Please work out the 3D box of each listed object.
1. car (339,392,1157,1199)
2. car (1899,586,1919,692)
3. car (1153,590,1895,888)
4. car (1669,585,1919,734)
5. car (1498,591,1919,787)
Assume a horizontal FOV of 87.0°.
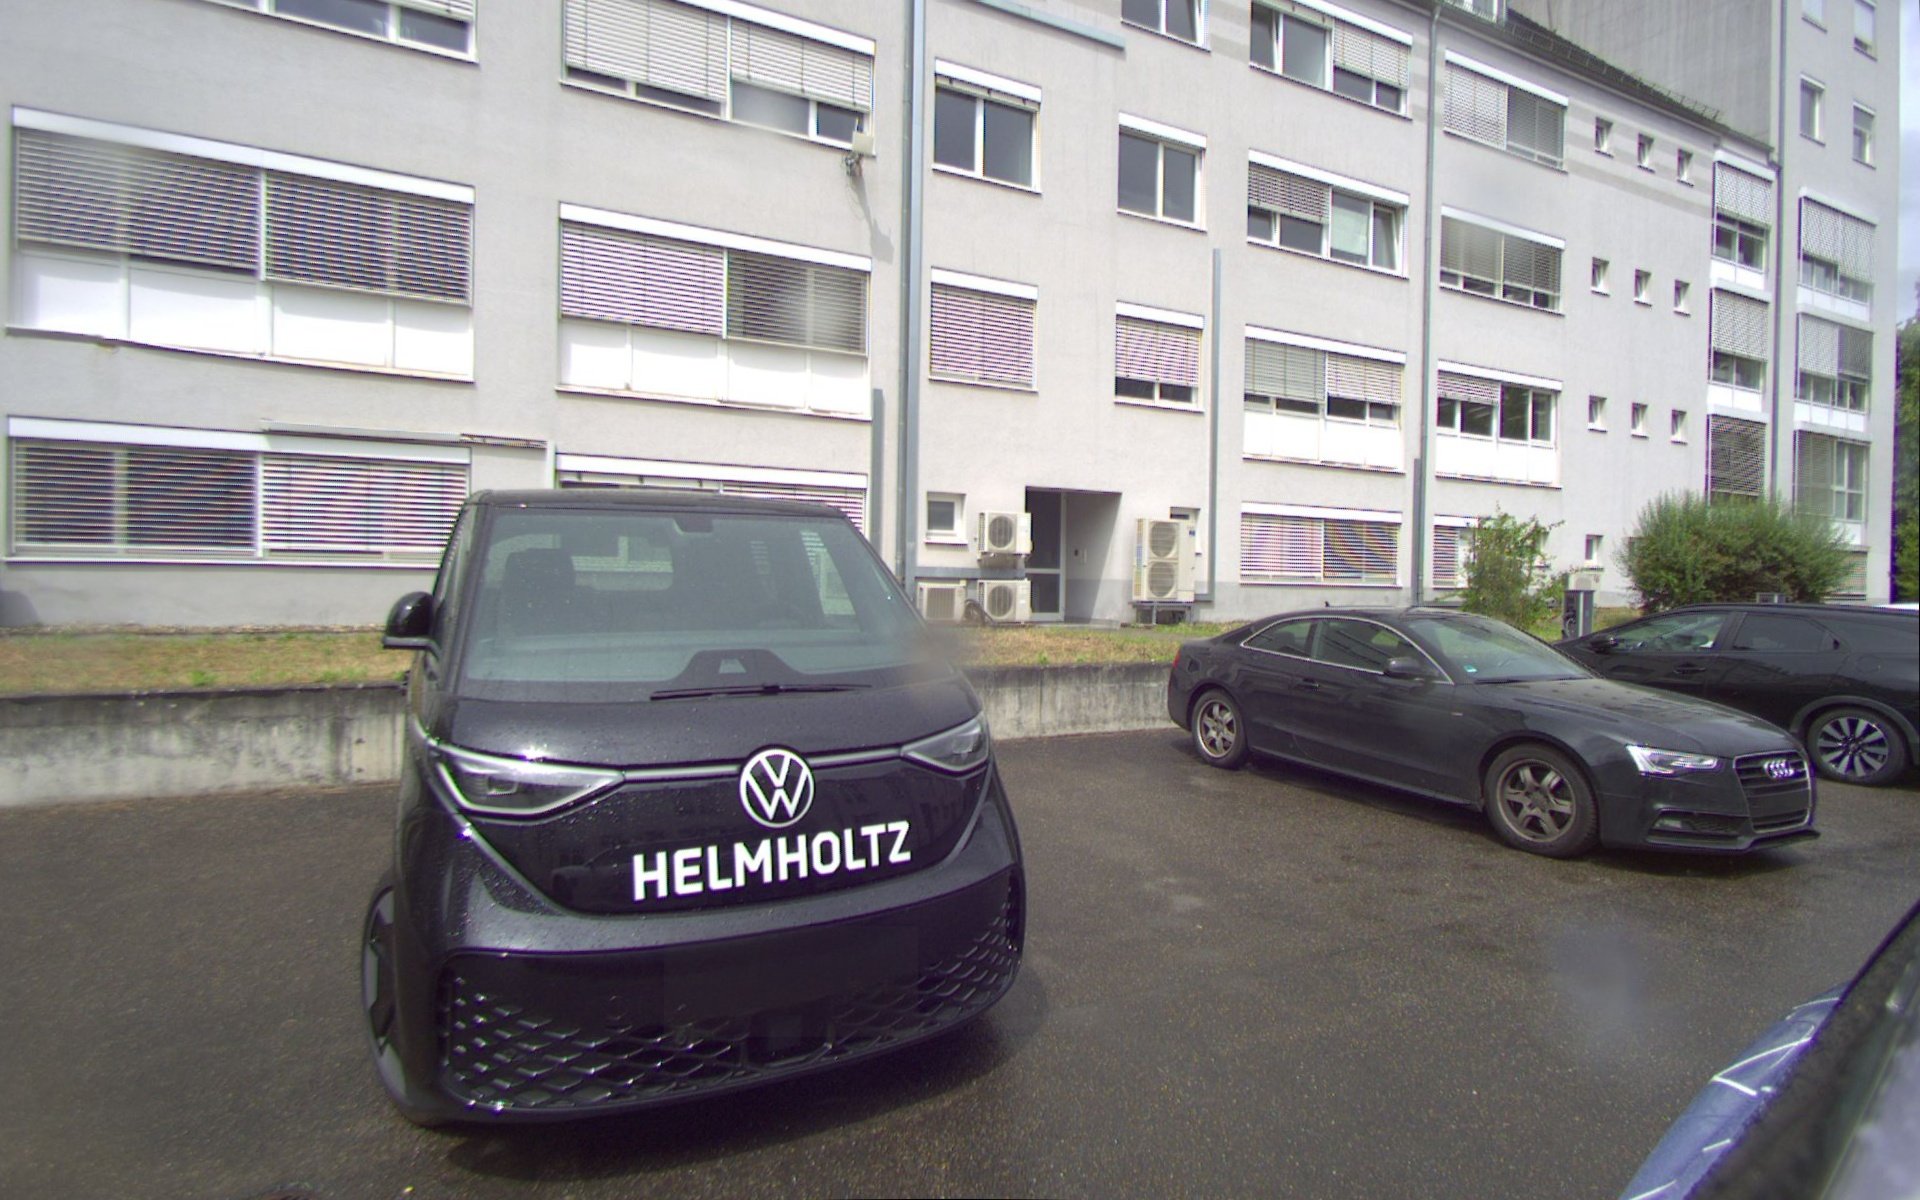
[{"bbox_3d":[-1.431,0.421,4.648,2.067,1.856,4.733,0,2,-27],"label":"car"},{"bbox_3d":[14.905,0.592,12.817,1.634,1.476,4.101,-1,2,-25],"label":"car"},{"bbox_3d":[3.508,0.671,7.292,1.822,1.365,4.375,1,1,-27],"label":"car"},{"bbox_3d":[10.520,0.631,11.111,1.795,1.473,4.119,0,2,-25],"label":"car"},{"bbox_3d":[7.605,0.678,9.475,1.900,1.418,4.191,0,2,-27],"label":"car"}]
